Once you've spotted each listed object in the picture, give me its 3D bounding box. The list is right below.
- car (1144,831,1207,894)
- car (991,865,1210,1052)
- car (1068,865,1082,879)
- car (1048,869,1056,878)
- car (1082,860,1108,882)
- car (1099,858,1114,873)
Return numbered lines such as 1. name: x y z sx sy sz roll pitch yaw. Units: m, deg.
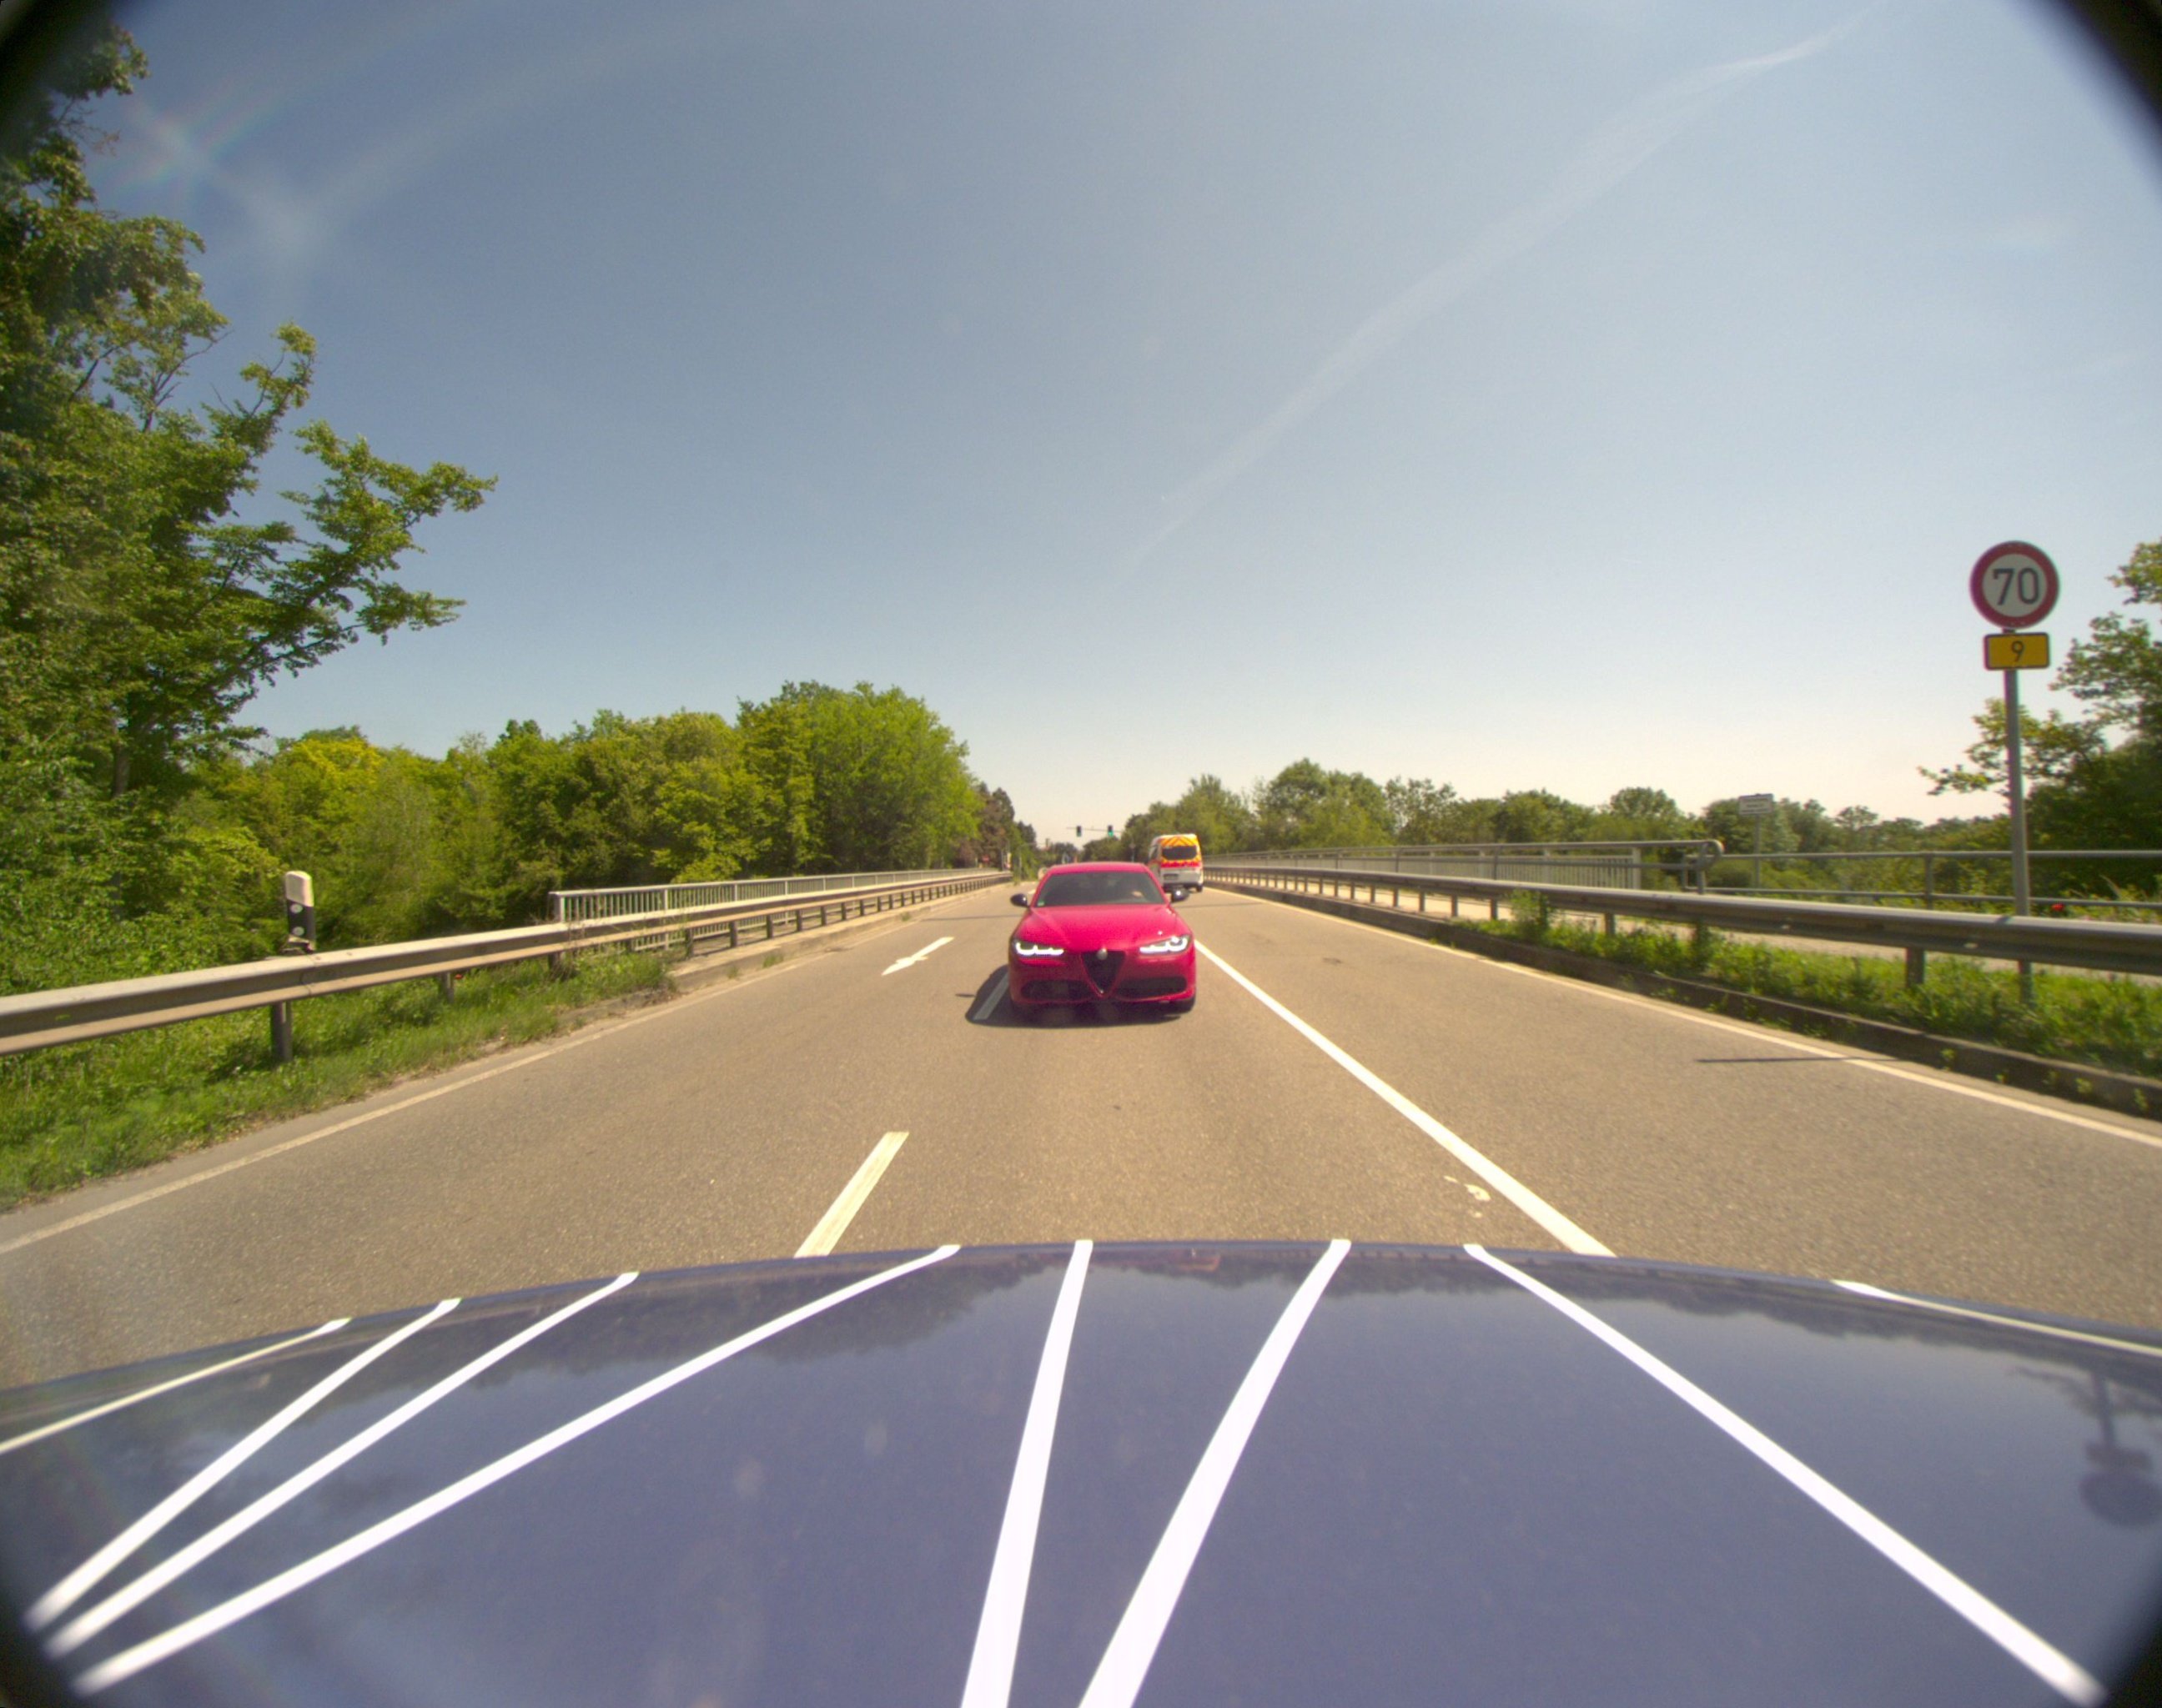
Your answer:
1. car: 3.884 0.330 32.008 1.995 2.354 5.181 -2 0 1
2. car: 0.187 0.914 8.511 1.800 1.448 4.285 -1 0 1
3. car: -0.765 2.291 96.570 1.633 1.667 3.489 -2 1 0
4. car: -5.556 3.737 146.934 1.416 1.499 3.316 -1 1 0
5. car: 1.030 1.202 55.530 1.800 1.448 3.706 -1 0 2
6. car: 3.192 1.401 95.445 1.848 1.758 4.000 -2 0 1
